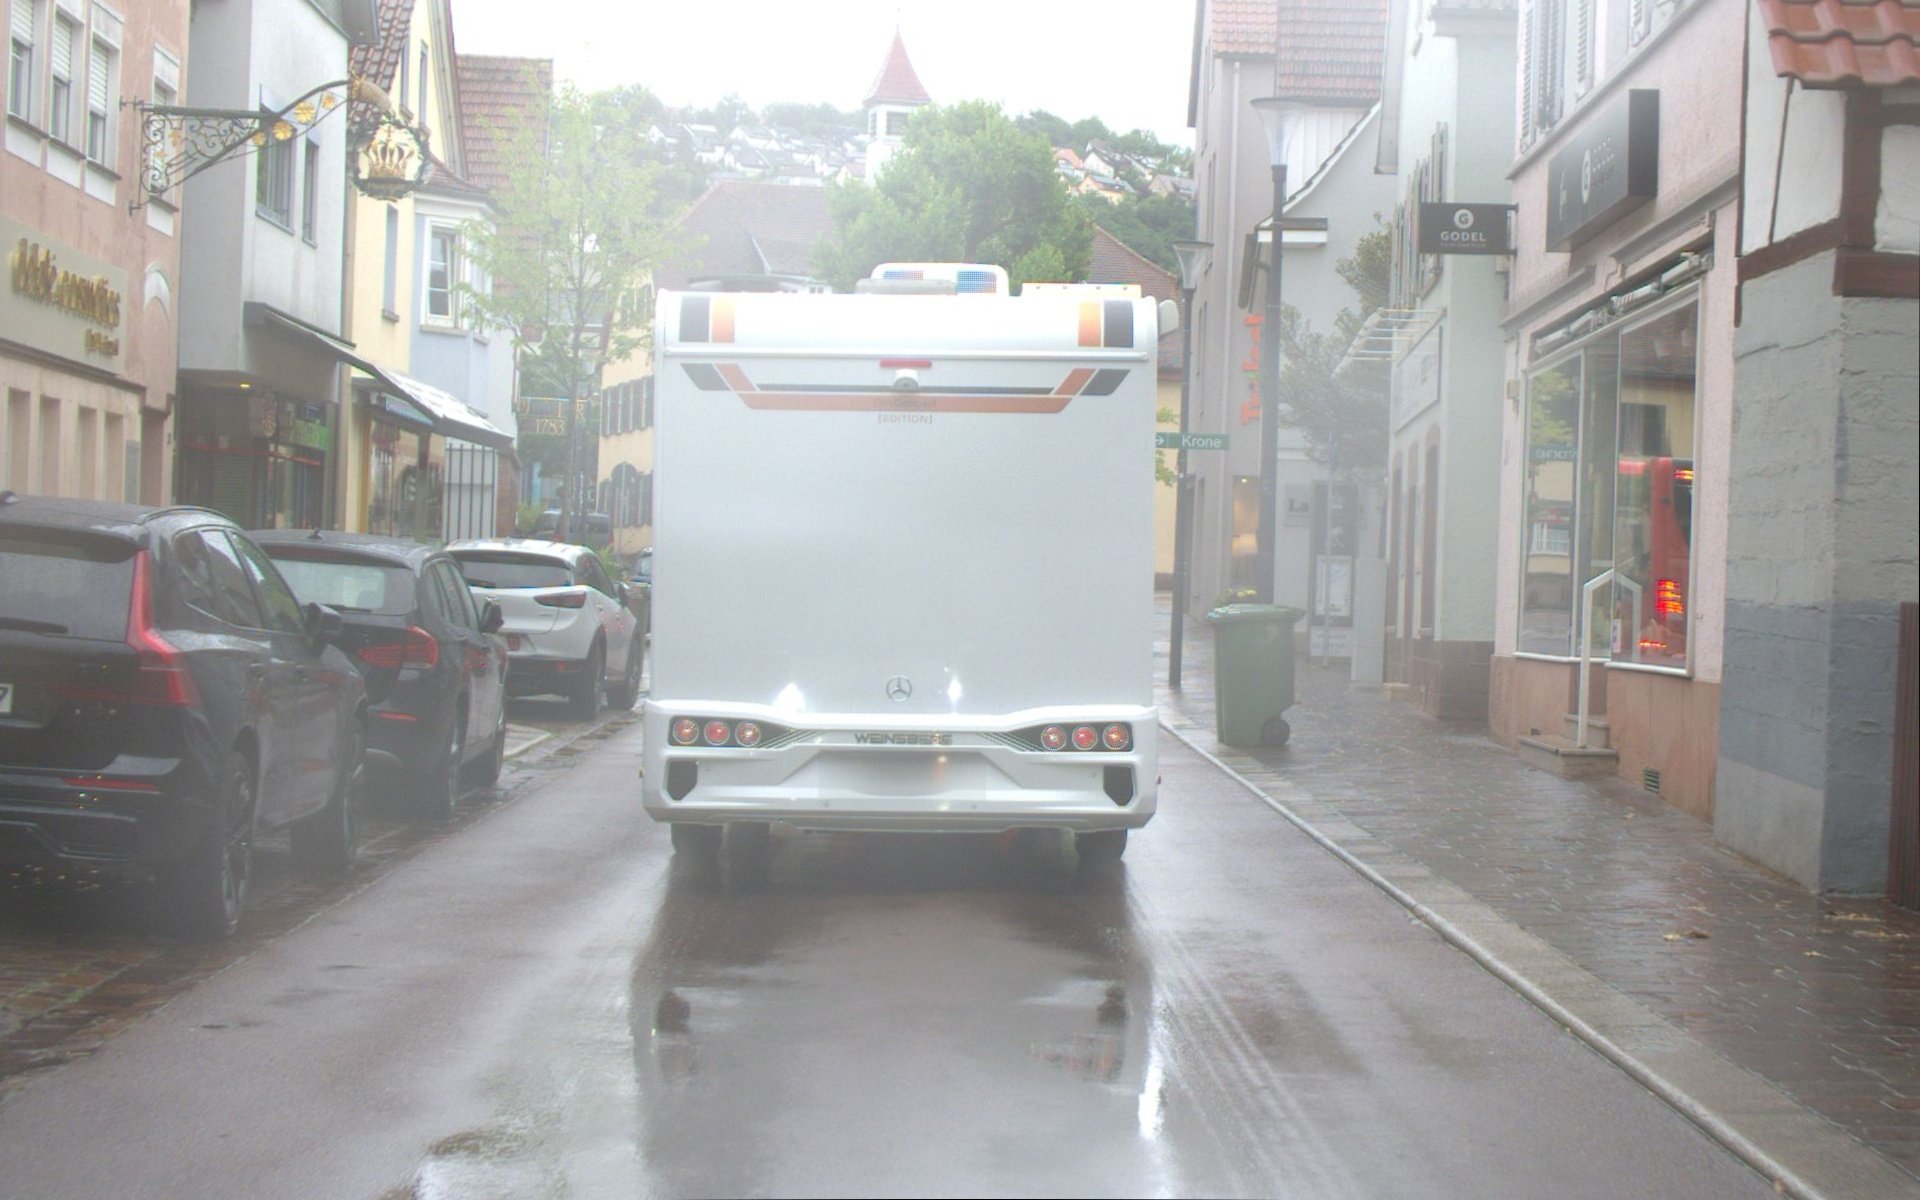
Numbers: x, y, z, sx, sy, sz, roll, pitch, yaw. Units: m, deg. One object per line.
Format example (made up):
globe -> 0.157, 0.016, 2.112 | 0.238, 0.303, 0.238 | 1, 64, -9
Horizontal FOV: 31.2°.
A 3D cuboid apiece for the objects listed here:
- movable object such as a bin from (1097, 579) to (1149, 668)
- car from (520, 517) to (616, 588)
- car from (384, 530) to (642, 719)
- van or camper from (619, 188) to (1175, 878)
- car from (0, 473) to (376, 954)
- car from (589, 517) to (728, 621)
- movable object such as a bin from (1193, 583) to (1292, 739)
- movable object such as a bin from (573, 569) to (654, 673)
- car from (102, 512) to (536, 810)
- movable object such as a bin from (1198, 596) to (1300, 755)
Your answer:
movable object such as a bin -> 2.281, 0.328, 48.218 | 0.658, 1.234, 0.621 | 1, 0, -1
car -> -11.693, -1.387, 102.409 | 1.993, 2.007, 4.001 | 1, 0, -18
car -> -3.973, 0.213, 31.138 | 1.827, 1.561, 4.000 | 1, 0, -1
van or camper -> -0.435, -0.275, 17.966 | 2.325, 2.909, 6.393 | 1, 0, -3
car -> -3.707, 0.391, 14.284 | 1.833, 1.669, 4.540 | 1, 0, -1
car -> -4.666, -0.490, 52.947 | 1.993, 1.467, 4.001 | 2, 1, -6
movable object such as a bin -> 2.220, 0.479, 27.077 | 0.718, 1.197, 0.578 | 1, 0, 2
movable object such as a bin -> -3.902, 0.237, 38.731 | 0.815, 1.102, 0.610 | 5, -1, -5
car -> -3.681, 0.332, 20.474 | 1.833, 1.546, 4.282 | 1, 0, -1
movable object such as a bin -> 2.222, 0.574, 26.481 | 0.718, 1.197, 0.573 | 1, 0, 2
